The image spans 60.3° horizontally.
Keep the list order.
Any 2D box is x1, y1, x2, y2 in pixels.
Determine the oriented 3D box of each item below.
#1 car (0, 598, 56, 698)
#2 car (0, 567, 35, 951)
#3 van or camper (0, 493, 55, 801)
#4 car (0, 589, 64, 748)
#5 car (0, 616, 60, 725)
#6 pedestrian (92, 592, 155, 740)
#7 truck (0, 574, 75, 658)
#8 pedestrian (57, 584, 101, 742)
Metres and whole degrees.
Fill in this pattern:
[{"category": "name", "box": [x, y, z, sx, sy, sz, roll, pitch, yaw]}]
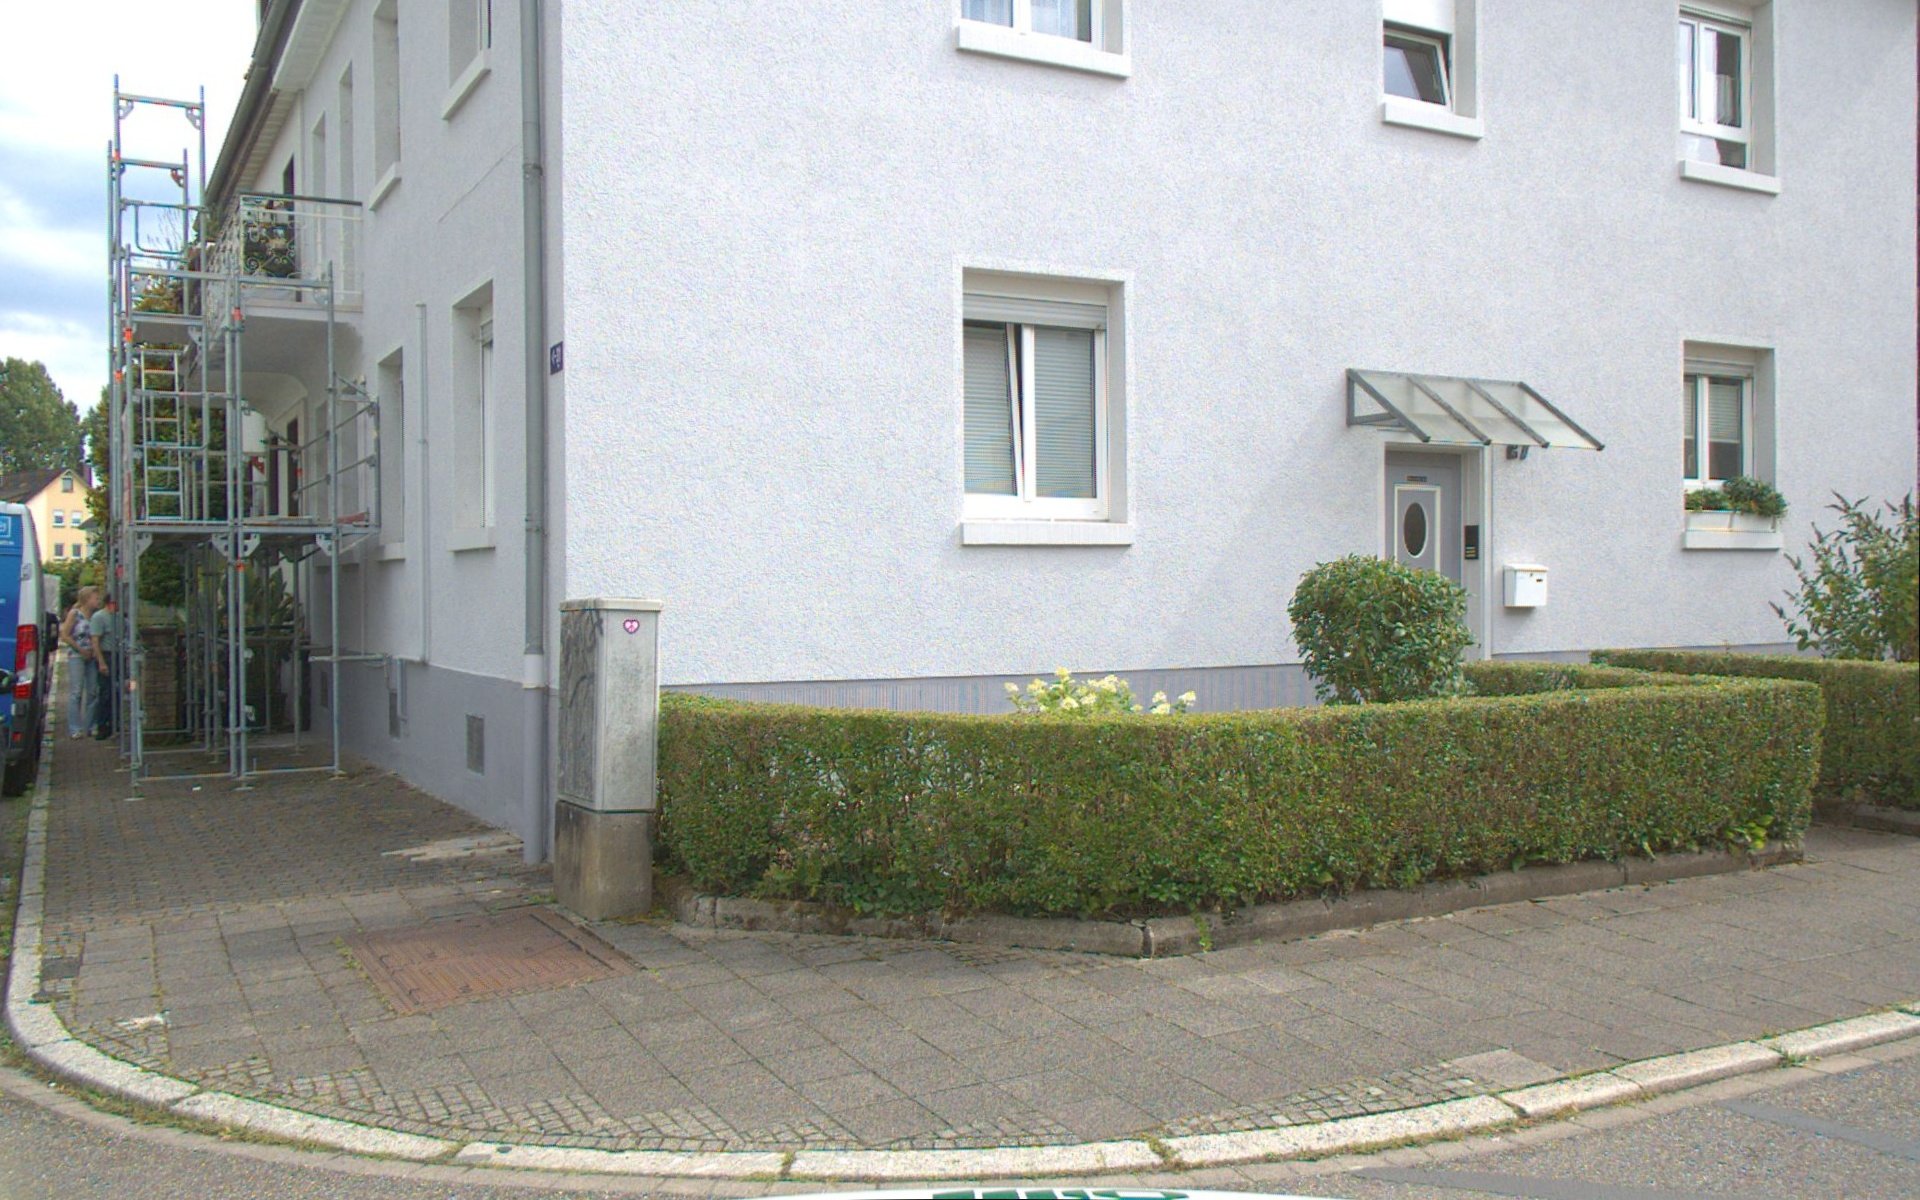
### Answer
[{"category": "car", "box": [-18.496, 0.880, 31.601, 1.974, 1.780, 4.296, -1, 0, -31]}, {"category": "car", "box": [-6.230, 0.746, 8.980, 1.974, 1.757, 4.296, -1, 0, -31]}, {"category": "van or camper", "box": [-9.609, 0.396, 15.261, 2.168, 2.502, 5.005, -1, 0, -29]}, {"category": "car", "box": [-12.310, 0.788, 20.450, 1.974, 1.803, 4.296, -1, 0, -31]}, {"category": "car", "box": [-14.738, 1.015, 24.832, 1.974, 1.481, 4.296, -1, 0, -31]}, {"category": "pedestrian", "box": [-9.587, 0.749, 18.973, 0.593, 1.658, 0.620, -1, -1, -25]}, {"category": "truck", "box": [-31.298, 0.503, 56.033, 2.108, 2.704, 4.537, -1, 0, -30]}, {"category": "pedestrian", "box": [-10.197, 0.721, 19.141, 0.403, 1.793, 0.507, -1, -1, -32]}]
